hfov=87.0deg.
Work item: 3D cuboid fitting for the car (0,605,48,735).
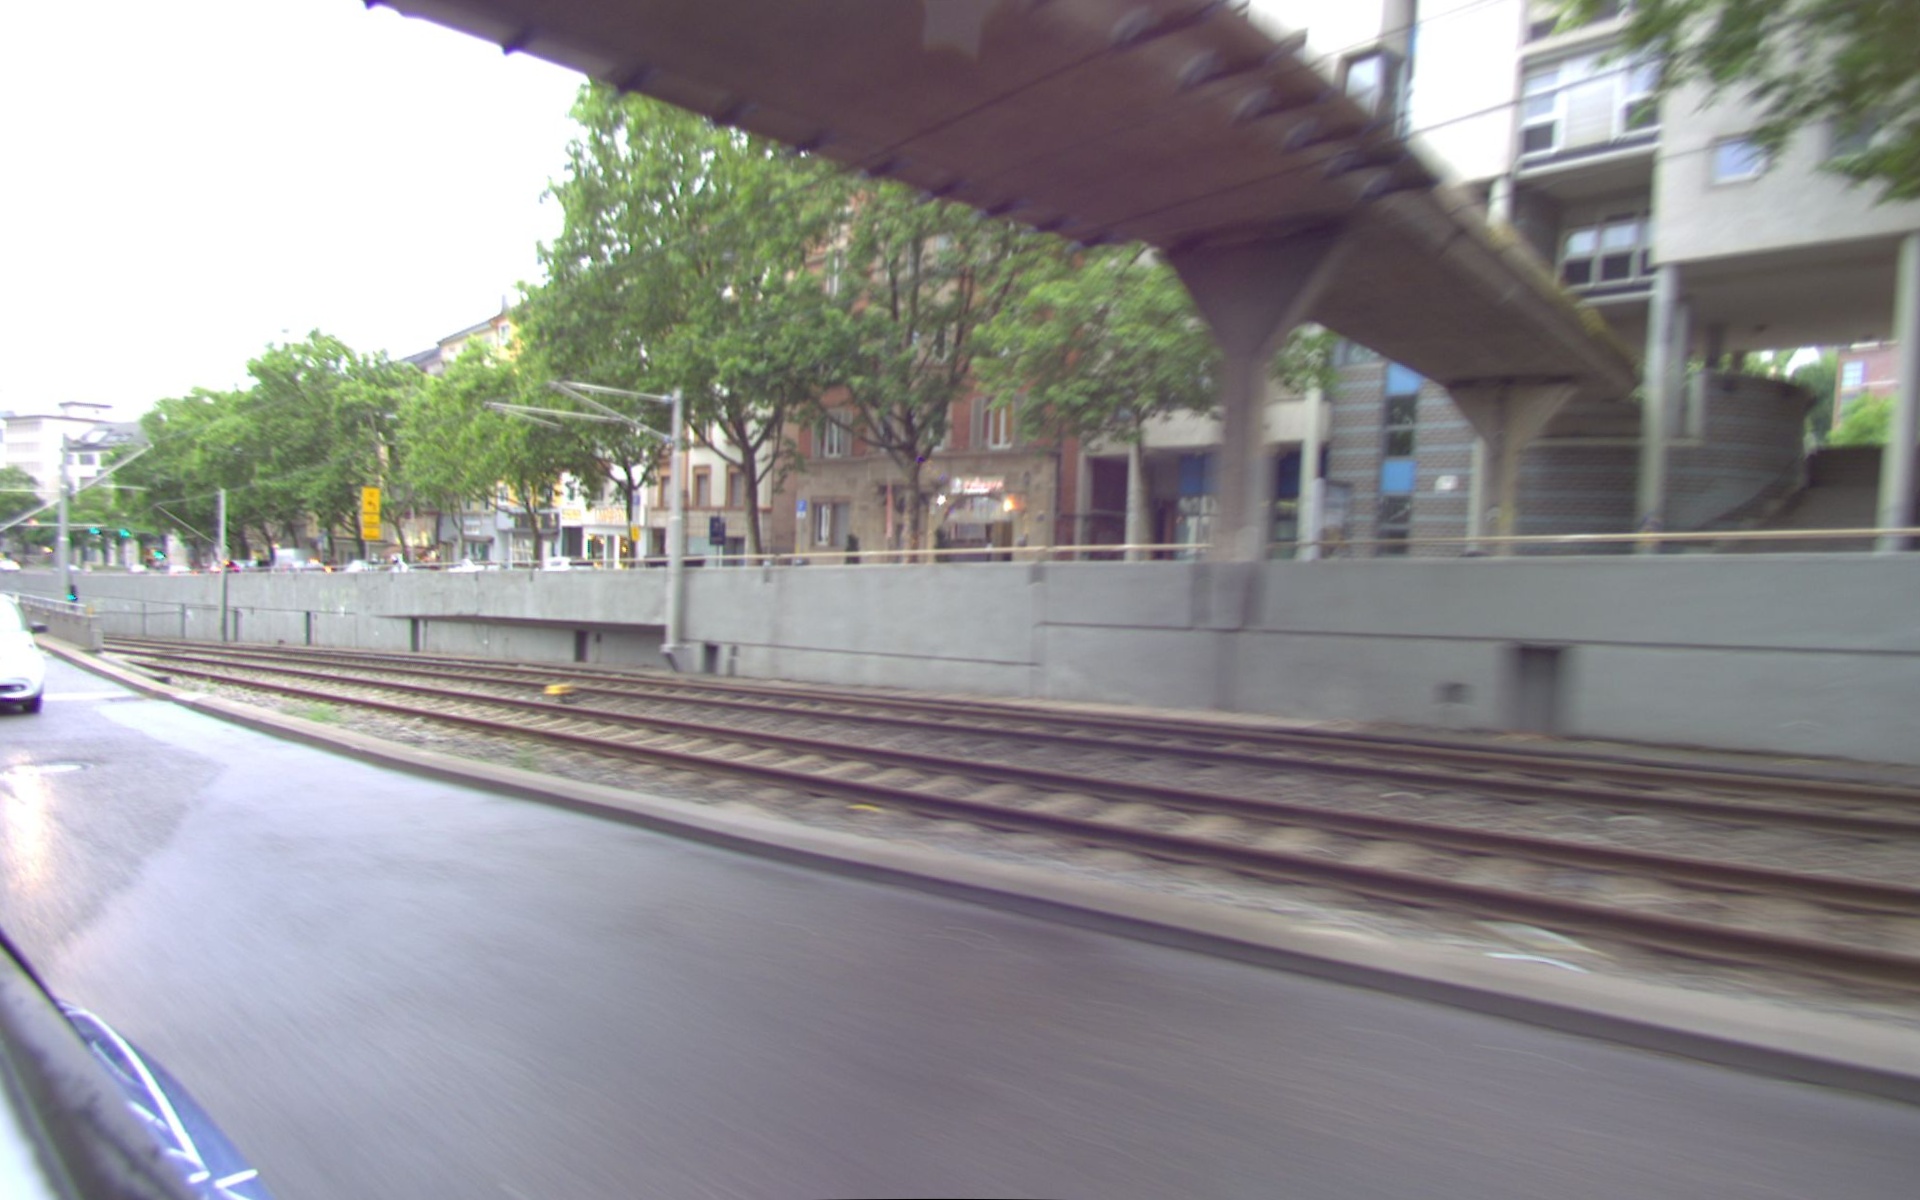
[{"bbox_3d":[-13.644,0.867,13.517,4.000,1.548,1.775,1,0,42],"label":"car"}]

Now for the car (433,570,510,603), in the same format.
[{"bbox_3d":[-26.009,-0.735,53.802,5.200,1.613,1.906,1,3,43],"label":"car"}]

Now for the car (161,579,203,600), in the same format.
[{"bbox_3d":[-59.820,-0.801,77.753,3.999,1.521,1.776,1,3,42],"label":"car"}]

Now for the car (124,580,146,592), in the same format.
[{"bbox_3d":[-105.598,-1.781,129.494,1.825,1.521,4.020,-4,3,-44],"label":"car"}]

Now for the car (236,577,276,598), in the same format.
[{"bbox_3d":[-62.265,-1.123,89.474,4.901,1.777,1.857,1,3,43],"label":"car"}]

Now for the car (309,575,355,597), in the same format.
[{"bbox_3d":[-47.042,-1.034,75.784,4.673,1.521,1.775,1,3,44],"label":"car"}]

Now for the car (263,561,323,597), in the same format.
[{"bbox_3d":[-53.728,-1.679,81.457,6.933,2.682,2.426,1,3,44],"label":"car"}]

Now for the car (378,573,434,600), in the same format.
[{"bbox_3d":[-33.594,-0.804,61.349,4.209,1.521,1.774,1,3,44],"label":"car"}]

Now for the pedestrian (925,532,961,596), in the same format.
[{"bbox_3d":[-0.538,-1.164,32.444,0.661,2.028,0.935,-4,5,-44],"label":"pedestrian"}]

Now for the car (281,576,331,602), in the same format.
[{"bbox_3d":[-41.960,-0.707,64.902,4.109,1.521,1.775,1,3,44],"label":"car"}]

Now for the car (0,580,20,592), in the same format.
[{"bbox_3d":[-131.174,-1.943,139.018,4.806,1.521,1.832,0,3,33],"label":"car"}]

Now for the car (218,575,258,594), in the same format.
[{"bbox_3d":[-69.105,-1.480,96.864,4.896,1.777,1.858,0,3,40],"label":"car"}]

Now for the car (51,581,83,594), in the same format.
[{"bbox_3d":[-111.774,-1.524,126.656,4.872,1.521,2.009,0,3,36],"label":"car"}]

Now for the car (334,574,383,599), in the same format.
[{"bbox_3d":[-40.933,-0.947,68.785,4.209,1.582,1.774,1,3,44],"label":"car"}]

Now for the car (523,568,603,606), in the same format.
[{"bbox_3d":[-18.081,-0.616,46.011,4.112,1.623,1.775,1,3,43],"label":"car"}]

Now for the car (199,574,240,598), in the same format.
[{"bbox_3d":[-61.797,-1.177,84.419,4.970,1.866,1.934,1,3,44],"label":"car"}]

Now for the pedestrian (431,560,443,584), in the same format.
[{"bbox_3d":[-39.087,-2.113,75.619,0.516,1.760,0.623,-6,5,-39],"label":"pedestrian"}]
